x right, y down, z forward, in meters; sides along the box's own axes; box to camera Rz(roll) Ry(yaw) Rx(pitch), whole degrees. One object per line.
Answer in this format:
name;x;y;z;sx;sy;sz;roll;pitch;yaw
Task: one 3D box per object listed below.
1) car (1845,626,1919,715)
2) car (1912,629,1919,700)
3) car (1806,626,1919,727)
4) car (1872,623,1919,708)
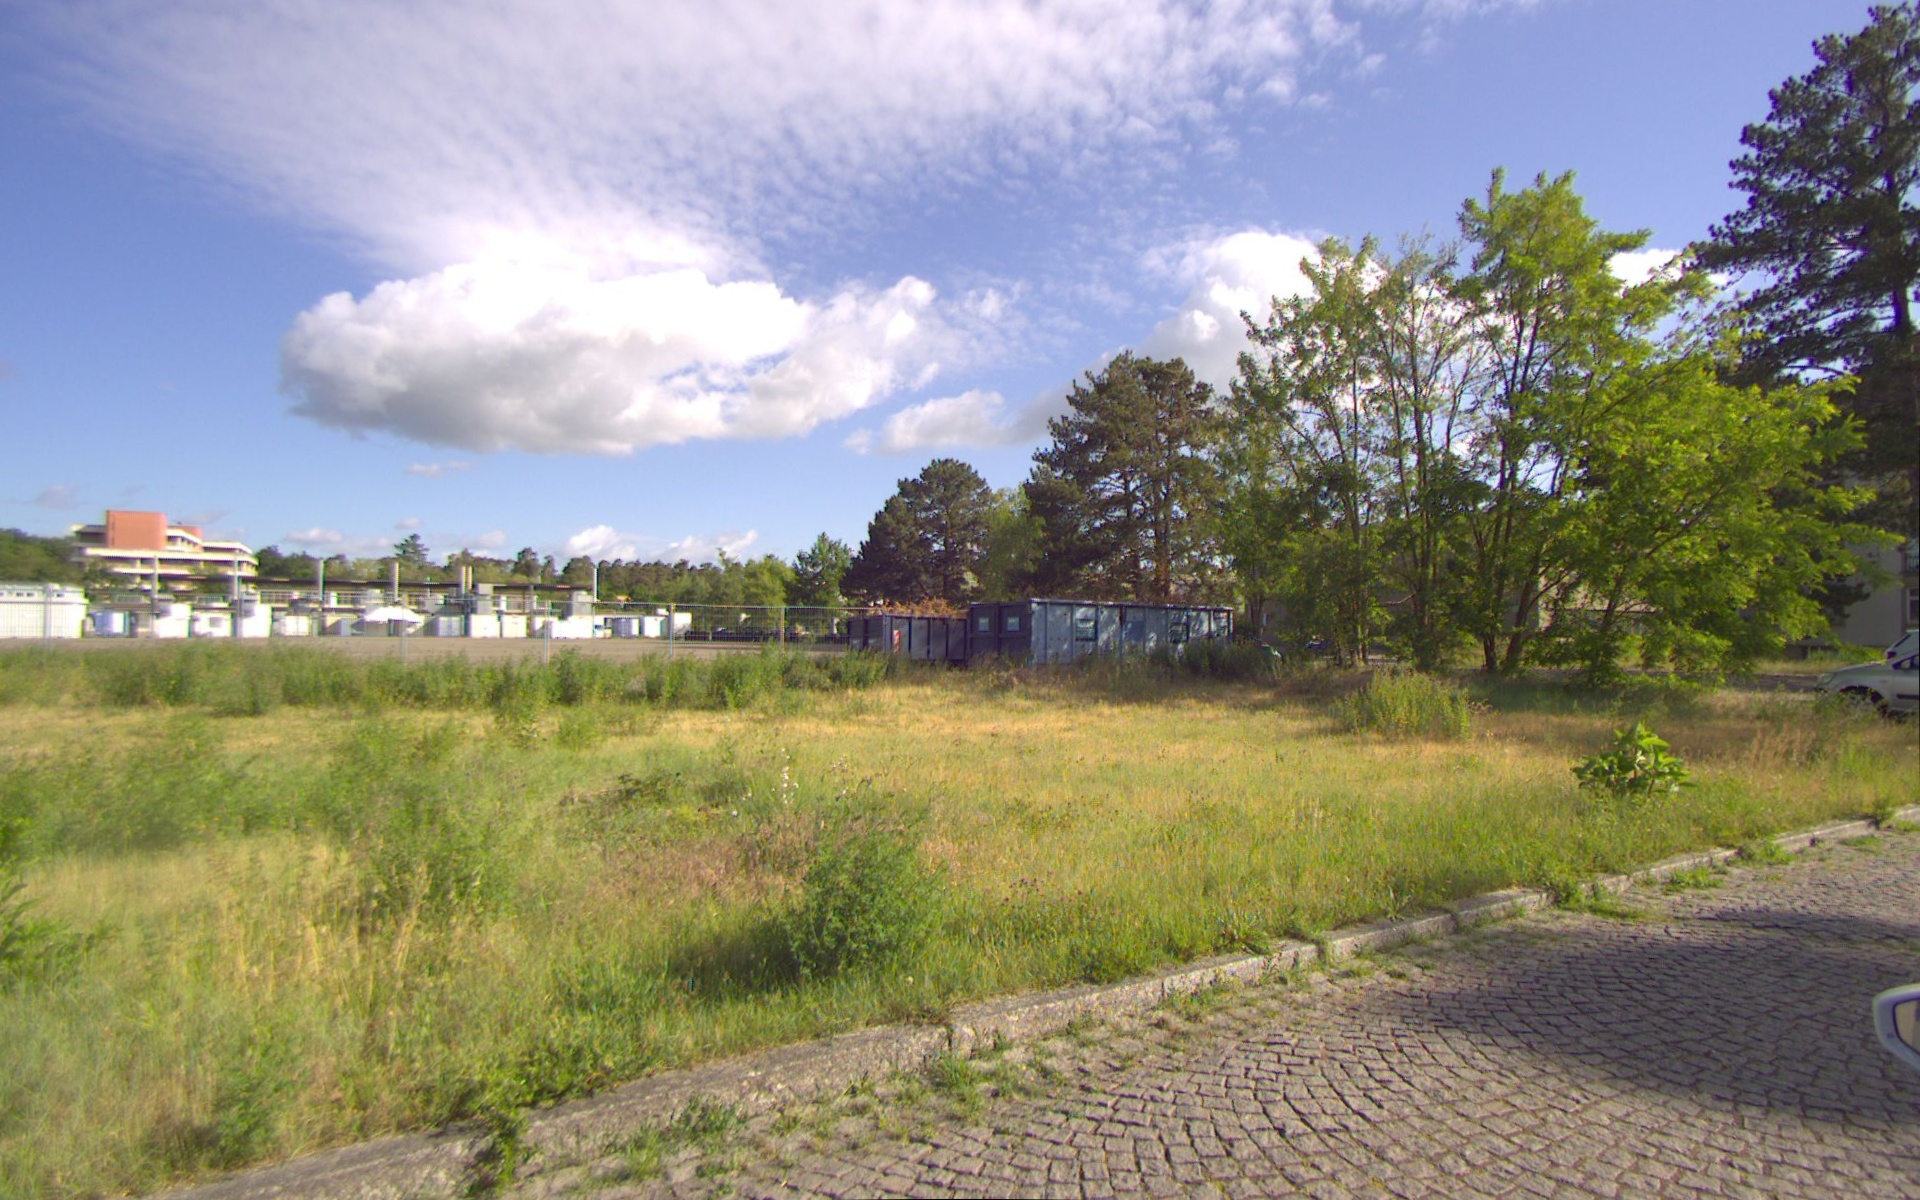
car;17.858;1.274;17.016;1.784;1.500;3.963;1;1;-33
car;22.130;1.416;19.985;1.811;1.488;4.307;1;1;-33
car;15.722;1.231;15.531;1.628;1.507;3.724;1;1;-33
car;20.144;1.323;18.914;1.865;1.614;4.056;1;1;-33
